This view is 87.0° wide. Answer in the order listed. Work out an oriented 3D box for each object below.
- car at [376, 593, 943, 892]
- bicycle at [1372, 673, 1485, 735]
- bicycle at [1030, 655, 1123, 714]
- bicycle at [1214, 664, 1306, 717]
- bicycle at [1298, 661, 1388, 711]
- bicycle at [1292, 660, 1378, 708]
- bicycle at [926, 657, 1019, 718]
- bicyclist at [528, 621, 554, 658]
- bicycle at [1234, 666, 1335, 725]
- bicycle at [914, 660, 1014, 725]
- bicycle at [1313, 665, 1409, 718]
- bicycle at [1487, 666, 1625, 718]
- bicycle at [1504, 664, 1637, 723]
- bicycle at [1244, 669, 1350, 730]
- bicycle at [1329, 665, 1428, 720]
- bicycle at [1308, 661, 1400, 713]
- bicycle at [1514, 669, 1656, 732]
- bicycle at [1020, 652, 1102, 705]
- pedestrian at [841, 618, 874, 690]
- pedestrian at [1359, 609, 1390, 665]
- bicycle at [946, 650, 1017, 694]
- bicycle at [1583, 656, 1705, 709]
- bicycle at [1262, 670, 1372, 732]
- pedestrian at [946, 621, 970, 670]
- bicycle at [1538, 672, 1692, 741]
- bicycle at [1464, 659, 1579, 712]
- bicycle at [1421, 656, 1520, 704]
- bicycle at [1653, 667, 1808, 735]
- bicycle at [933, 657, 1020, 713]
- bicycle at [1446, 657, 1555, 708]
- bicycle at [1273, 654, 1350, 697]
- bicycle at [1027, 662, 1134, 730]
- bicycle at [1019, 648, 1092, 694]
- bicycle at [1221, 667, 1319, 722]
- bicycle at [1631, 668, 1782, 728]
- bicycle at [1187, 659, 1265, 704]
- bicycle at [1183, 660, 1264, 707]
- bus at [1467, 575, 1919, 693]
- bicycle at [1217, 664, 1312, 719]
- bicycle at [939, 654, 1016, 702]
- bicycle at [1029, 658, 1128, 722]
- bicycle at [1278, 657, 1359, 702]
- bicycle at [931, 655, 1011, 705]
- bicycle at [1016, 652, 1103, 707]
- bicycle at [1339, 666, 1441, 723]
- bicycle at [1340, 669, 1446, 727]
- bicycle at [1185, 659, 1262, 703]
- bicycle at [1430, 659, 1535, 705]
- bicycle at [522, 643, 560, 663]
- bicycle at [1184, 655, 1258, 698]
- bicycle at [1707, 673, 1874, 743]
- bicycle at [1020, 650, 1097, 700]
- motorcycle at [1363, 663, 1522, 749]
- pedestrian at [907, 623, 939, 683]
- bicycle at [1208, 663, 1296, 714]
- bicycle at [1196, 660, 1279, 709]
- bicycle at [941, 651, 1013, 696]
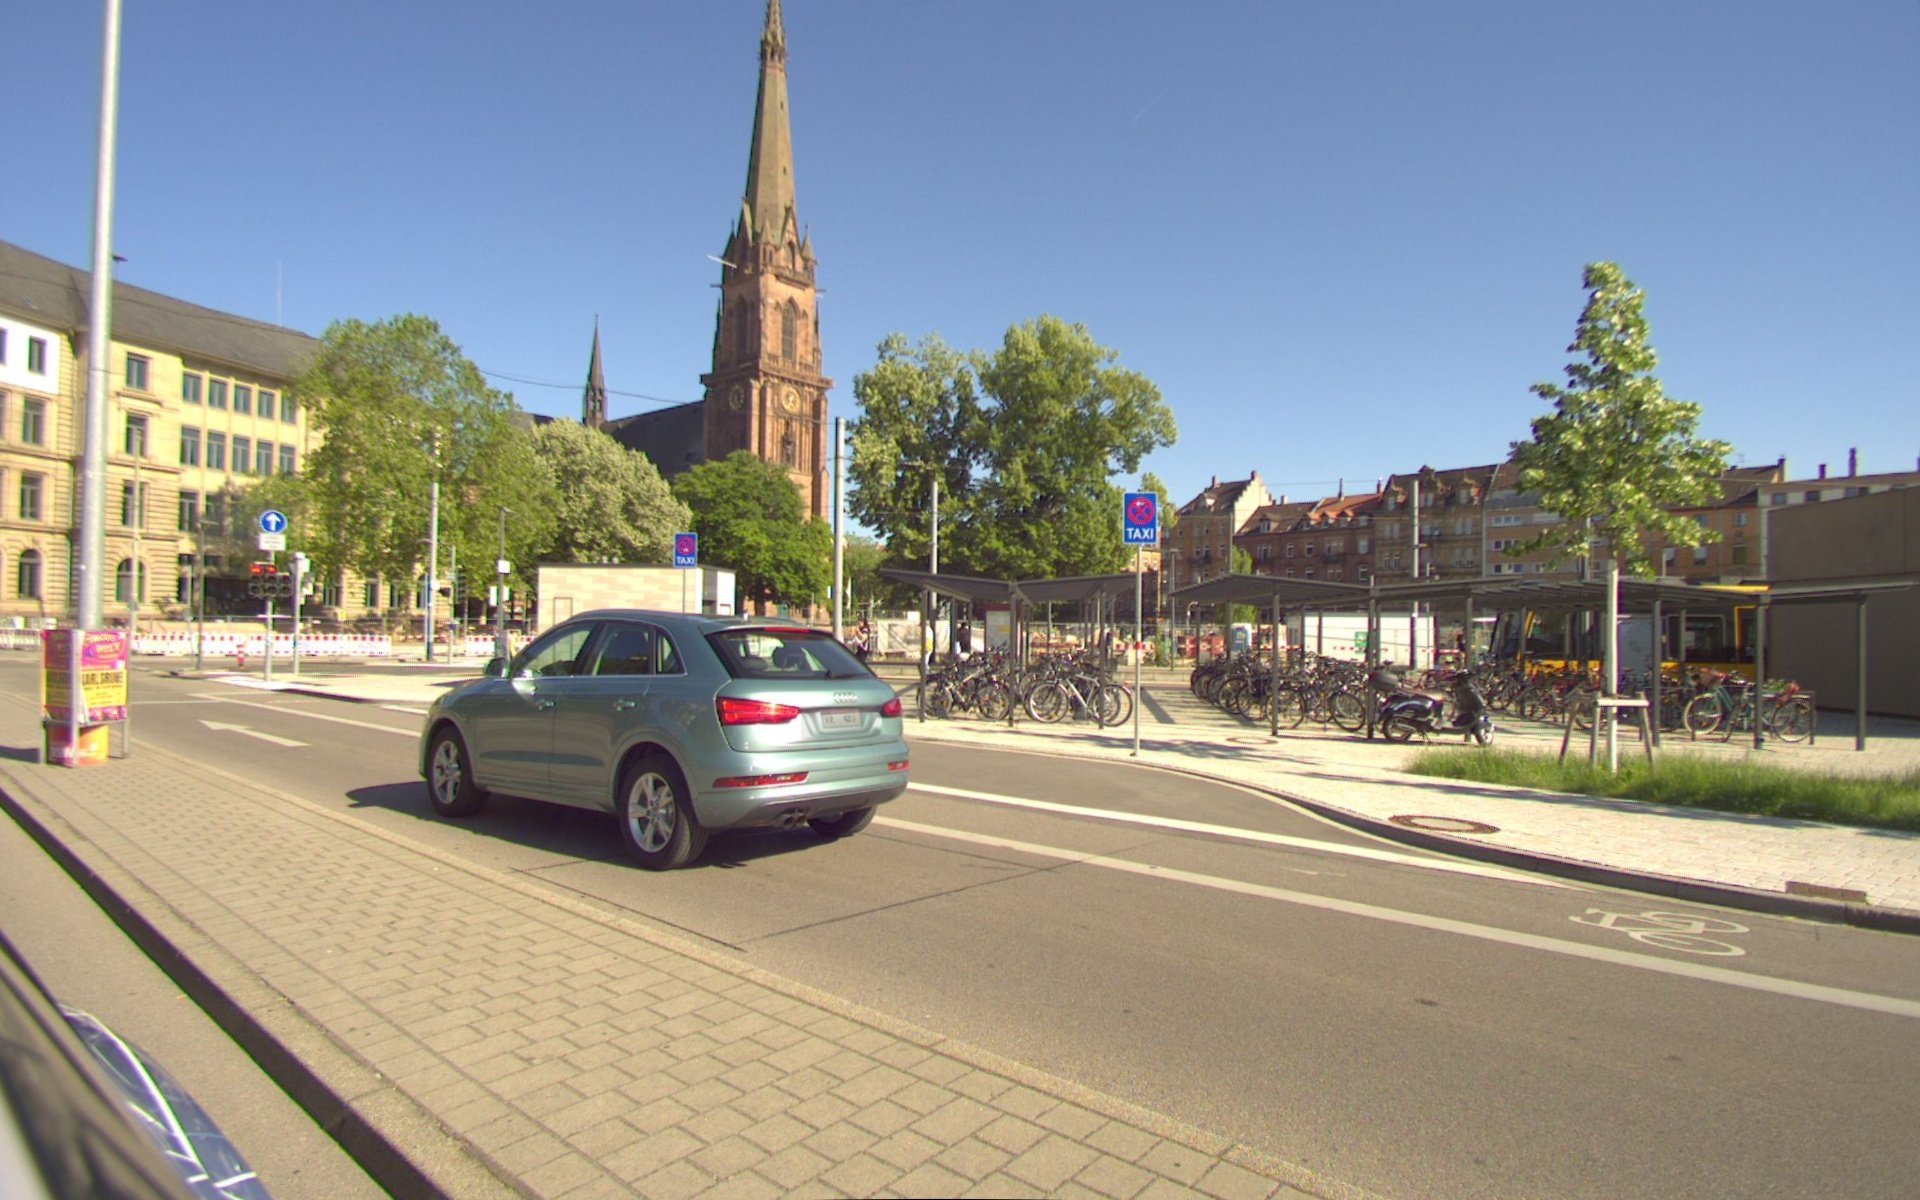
[{"bbox_3d":[-2.350,0.832,7.414,4.250,1.594,1.771,-1,-4,37],"label":"car"},{"bbox_3d":[7.772,1.725,16.819,1.661,0.980,0.406,-1,0,3],"label":"bicycle"},{"bbox_3d":[2.239,1.622,19.581,1.755,1.083,0.406,1,0,6],"label":"bicycle"},{"bbox_3d":[5.905,1.782,19.956,1.661,0.980,0.406,1,0,3],"label":"bicycle"},{"bbox_3d":[7.865,1.762,20.824,1.661,0.980,0.406,-1,0,3],"label":"bicycle"},{"bbox_3d":[7.993,1.791,21.621,1.661,0.980,0.406,-1,0,3],"label":"bicycle"},{"bbox_3d":[0.235,1.598,18.600,1.663,1.006,0.406,2,0,8],"label":"bicycle"},{"bbox_3d":[-18.321,1.717,44.299,0.731,1.583,0.885,0,-2,3],"label":"bicyclist"},{"bbox_3d":[5.819,1.711,18.186,1.661,0.980,0.406,1,0,3],"label":"bicycle"},{"bbox_3d":[0.071,1.575,17.381,1.663,1.006,0.406,2,0,8],"label":"bicycle"},{"bbox_3d":[7.720,1.764,19.527,1.661,0.980,0.406,-1,0,3],"label":"bicycle"},{"bbox_3d":[11.618,1.799,19.788,2.208,0.951,0.685,-1,0,7],"label":"bicycle"},{"bbox_3d":[11.326,1.734,18.810,2.048,1.045,0.533,-1,0,8],"label":"bicycle"},{"bbox_3d":[5.798,1.711,17.461,1.661,0.980,0.406,1,0,3],"label":"bicycle"},{"bbox_3d":[7.846,1.732,19.011,1.661,0.980,0.406,-1,0,3],"label":"bicycle"},{"bbox_3d":[7.862,1.731,20.227,1.661,0.980,0.406,-1,0,3],"label":"bicycle"},{"bbox_3d":[10.872,1.741,17.652,2.048,1.045,0.533,-1,0,8],"label":"bicycle"},{"bbox_3d":[2.197,1.696,22.027,1.755,1.083,0.406,1,0,6],"label":"bicycle"},{"bbox_3d":[-2.742,1.430,27.105,0.690,1.873,0.622,1,-1,-27],"label":"pedestrian"},{"bbox_3d":[14.641,1.305,35.772,0.793,1.931,0.769,0,-2,4],"label":"pedestrian"},{"bbox_3d":[0.521,1.703,24.186,1.663,1.006,0.406,0,0,8],"label":"bicycle"},{"bbox_3d":[14.082,1.698,20.875,2.048,1.045,0.533,-1,0,8],"label":"bicycle"},{"bbox_3d":[5.937,1.686,16.888,1.661,0.980,0.406,-1,0,3],"label":"bicycle"},{"bbox_3d":[-0.094,1.731,38.924,0.610,1.874,0.703,2,-2,-39],"label":"pedestrian"},{"bbox_3d":[10.576,1.712,16.387,2.048,1.045,0.533,-1,0,8],"label":"bicycle"},{"bbox_3d":[11.780,1.796,21.263,2.048,1.045,0.533,-1,2,8],"label":"bicycle"},{"bbox_3d":[12.304,1.921,24.427,2.048,1.045,0.533,1,3,8],"label":"bicycle"},{"bbox_3d":[12.993,1.698,17.114,2.030,1.087,0.604,-1,0,7],"label":"bicycle"},{"bbox_3d":[0.332,1.665,19.943,1.663,1.006,0.406,2,0,8],"label":"bicycle"},{"bbox_3d":[11.870,1.803,22.254,2.048,1.045,0.533,-1,2,8],"label":"bicycle"},{"bbox_3d":[8.295,1.786,23.913,1.661,0.980,0.406,-1,0,3],"label":"bicycle"},{"bbox_3d":[2.026,1.607,17.090,1.753,1.083,0.406,1,-3,6],"label":"bicycle"},{"bbox_3d":[2.318,1.725,24.676,1.755,1.083,0.406,1,0,6],"label":"bicycle"},{"bbox_3d":[5.732,1.751,18.766,1.661,0.980,0.406,-1,0,3],"label":"bicycle"},{"bbox_3d":[13.483,1.765,18.328,2.117,1.005,0.690,-1,0,7],"label":"bicycle"},{"bbox_3d":[6.057,1.861,23.049,1.661,0.980,0.406,1,-5,3],"label":"bicycle"},{"bbox_3d":[5.790,1.839,22.294,1.661,0.980,0.406,1,-5,3],"label":"bicycle"},{"bbox_3d":[22.012,0.935,28.638,13.462,3.095,2.859,0,-2,6],"label":"bus"},{"bbox_3d":[5.818,1.739,19.374,1.661,0.980,0.406,1,0,3],"label":"bicycle"},{"bbox_3d":[0.389,1.706,22.283,1.663,1.006,0.406,0,0,8],"label":"bicycle"},{"bbox_3d":[2.143,1.618,18.335,1.753,1.083,0.406,1,0,6],"label":"bicycle"},{"bbox_3d":[8.077,1.789,22.836,1.661,0.980,0.406,-1,0,3],"label":"bicycle"},{"bbox_3d":[0.233,1.677,21.402,1.663,1.006,0.406,0,0,8],"label":"bicycle"},{"bbox_3d":[2.057,1.644,20.971,1.755,1.083,0.406,1,0,6],"label":"bicycle"},{"bbox_3d":[7.827,1.724,18.458,1.661,0.980,0.406,-1,0,3],"label":"bicycle"},{"bbox_3d":[7.647,1.726,17.890,1.661,0.980,0.406,-1,0,3],"label":"bicycle"},{"bbox_3d":[6.141,1.883,23.622,1.661,0.980,0.406,1,-5,3],"label":"bicycle"},{"bbox_3d":[12.035,1.881,23.372,2.048,1.045,0.533,-1,-4,8],"label":"bicycle"},{"bbox_3d":[-18.325,2.306,44.280,0.731,0.788,2.051,0,-2,2],"label":"bicycle"},{"bbox_3d":[6.260,1.838,24.310,1.661,0.980,0.406,1,-5,3],"label":"bicycle"},{"bbox_3d":[13.163,1.711,16.079,2.048,1.045,0.533,-1,0,8],"label":"bicycle"},{"bbox_3d":[2.277,1.733,23.497,1.755,1.083,0.406,1,0,6],"label":"bicycle"},{"bbox_3d":[7.197,1.572,15.158,2.059,1.228,0.569,-1,-2,3],"label":"motorcycle"},{"bbox_3d":[-1.013,1.442,27.816,0.696,1.635,0.617,0,-2,16],"label":"pedestrian"},{"bbox_3d":[5.929,1.786,20.562,1.661,0.980,0.406,1,-5,3],"label":"bicycle"},{"bbox_3d":[5.929,1.807,21.638,1.661,0.980,0.406,1,-5,3],"label":"bicycle"},{"bbox_3d":[0.397,1.703,23.660,1.663,1.006,0.406,0,0,8],"label":"bicycle"}]
